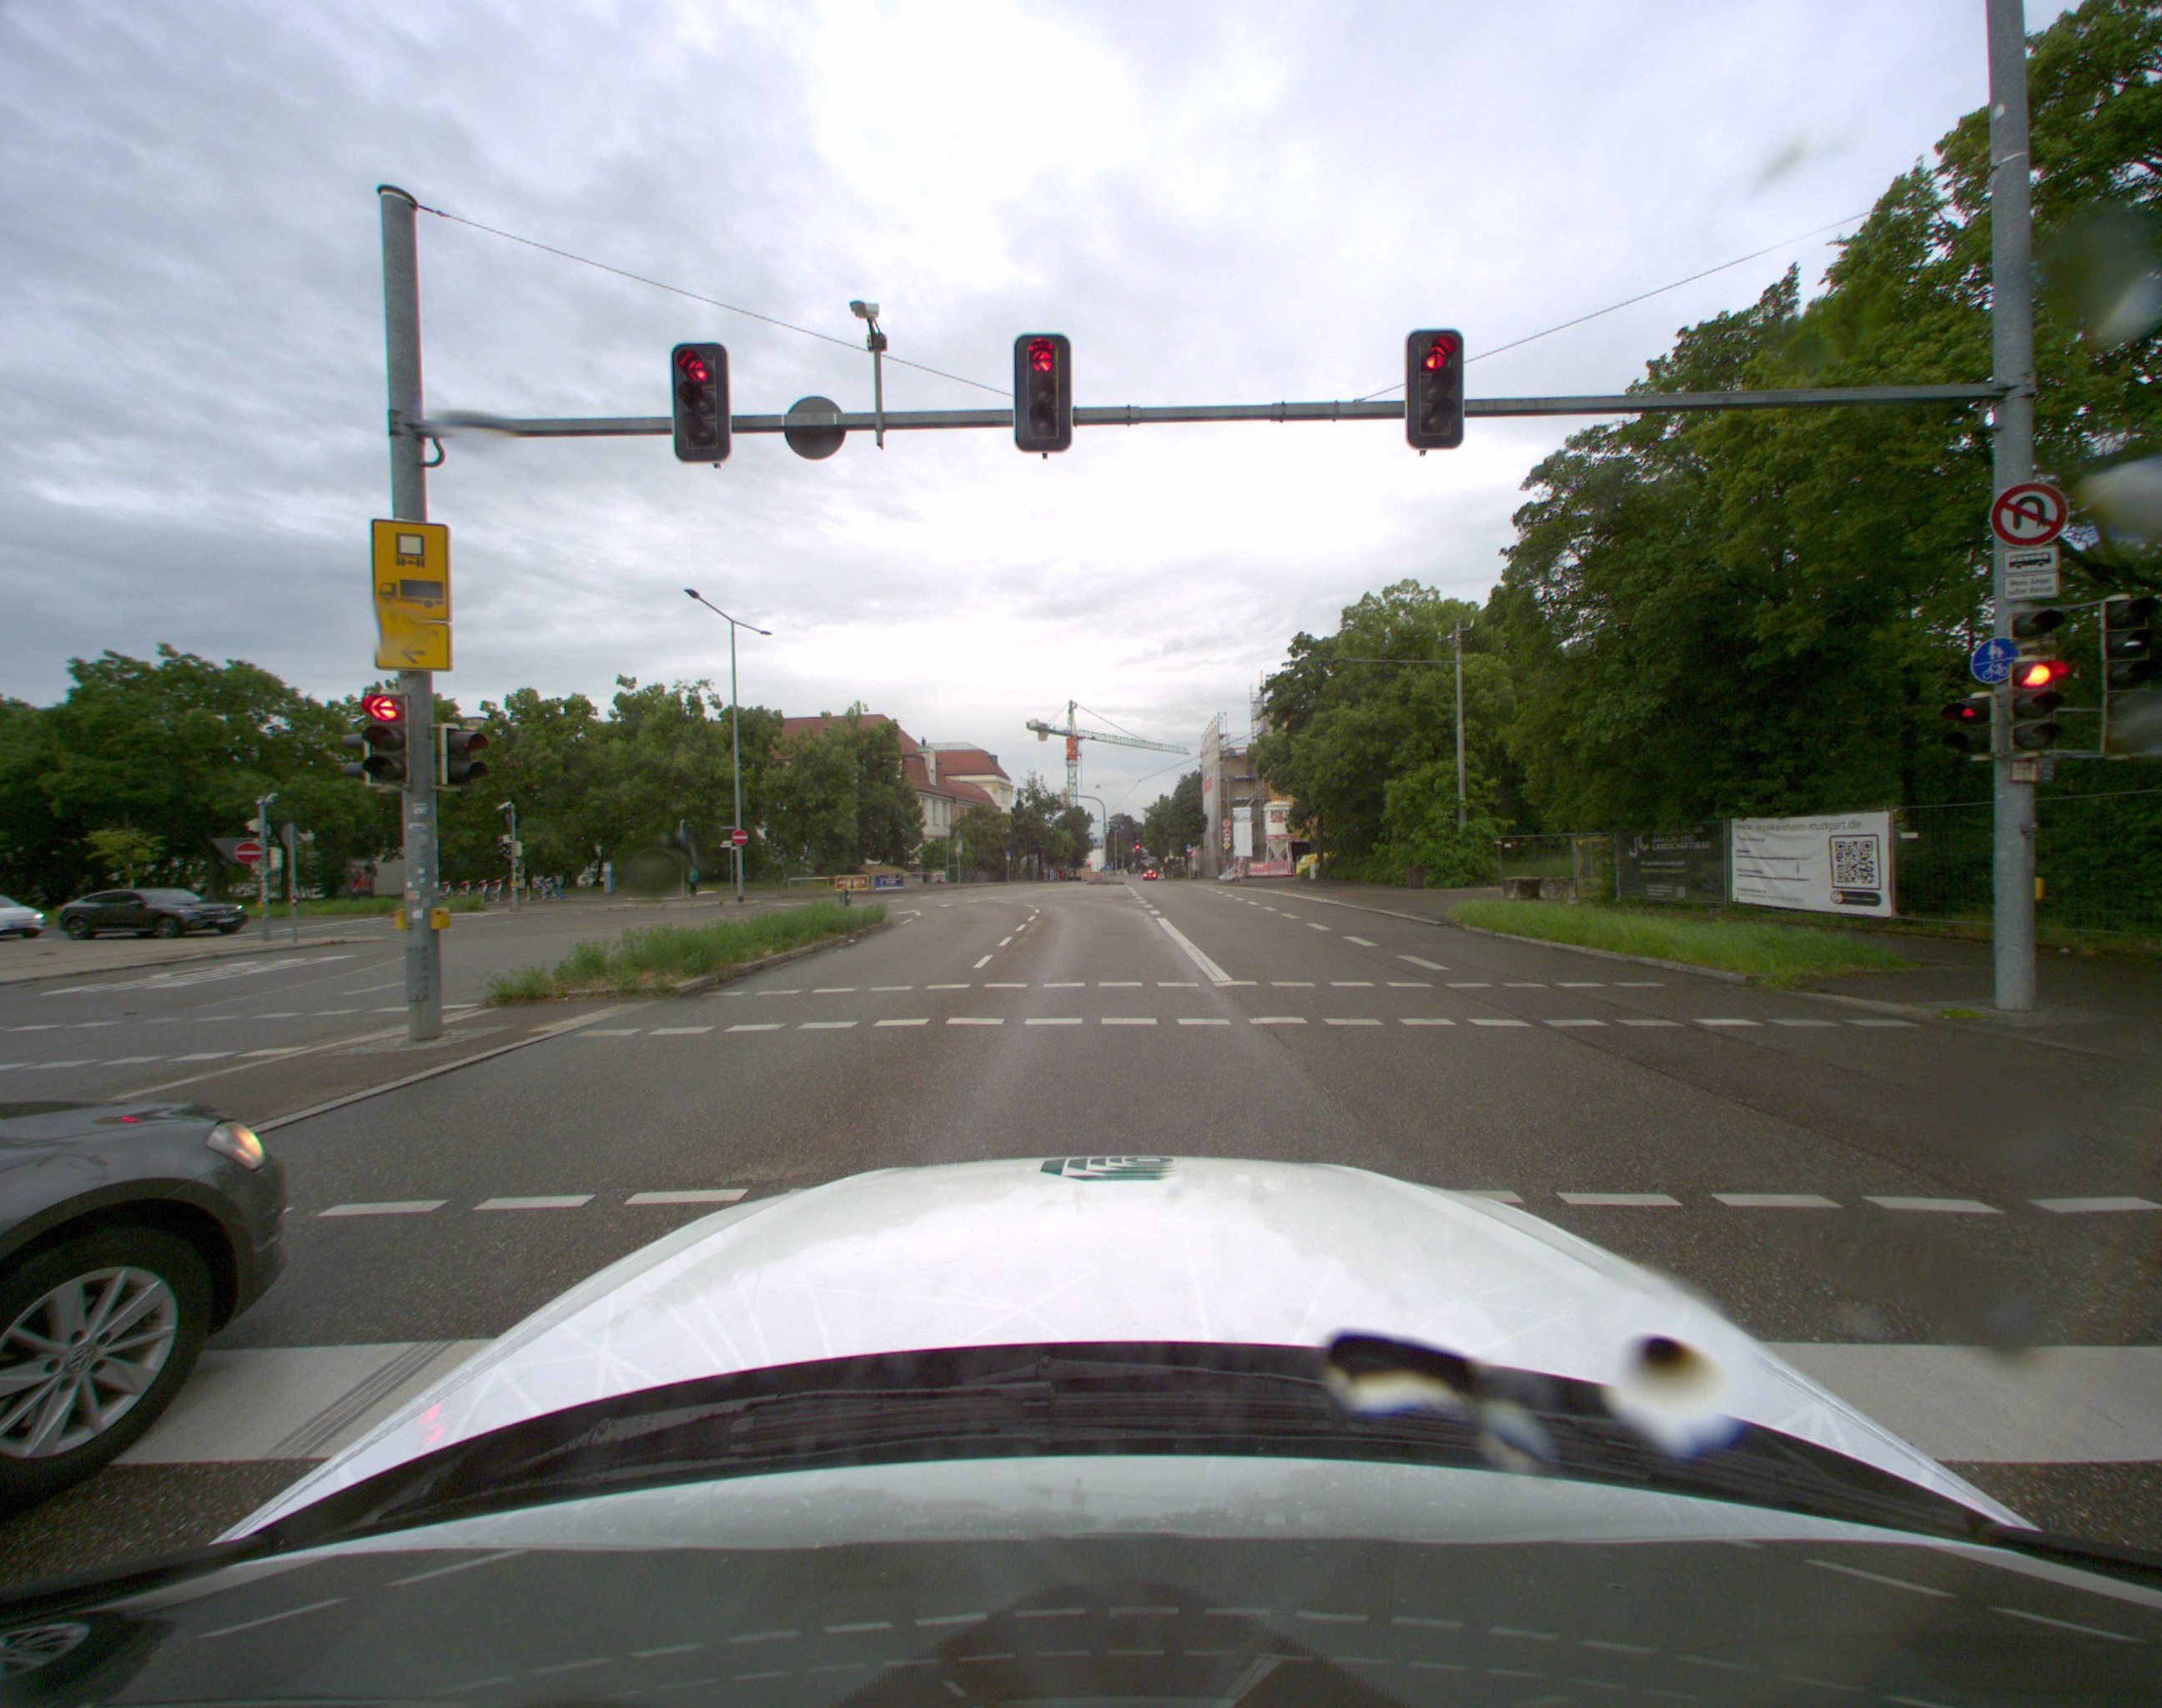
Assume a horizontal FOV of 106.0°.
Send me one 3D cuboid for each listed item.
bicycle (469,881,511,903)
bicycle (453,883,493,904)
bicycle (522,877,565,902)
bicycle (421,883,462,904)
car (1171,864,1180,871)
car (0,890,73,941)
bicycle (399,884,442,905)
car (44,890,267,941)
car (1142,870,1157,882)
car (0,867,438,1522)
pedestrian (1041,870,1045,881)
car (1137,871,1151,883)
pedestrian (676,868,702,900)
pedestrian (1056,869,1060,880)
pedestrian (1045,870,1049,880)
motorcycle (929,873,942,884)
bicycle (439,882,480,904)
[{"bbox_3d":[-32.275,2.067,44.510,0.798,1.071,1.982,0,-1,2],"label":"bicycle"},{"bbox_3d":[-33.024,2.119,44.279,0.649,1.071,1.982,0,-1,2],"label":"bicycle"},{"bbox_3d":[-29.442,1.933,44.619,0.987,1.249,1.982,0,-1,2],"label":"bicycle"},{"bbox_3d":[-34.993,2.142,44.584,0.649,1.071,1.982,0,-1,2],"label":"bicycle"},{"bbox_3d":[25.444,3.511,218.956,1.980,1.750,4.014,-2,0,13],"label":"car"},{"bbox_3d":[-36.502,2.037,27.054,3.539,1.594,2.001,0,-1,1],"label":"car"},{"bbox_3d":[-35.970,2.178,44.369,0.649,1.071,1.982,0,-1,2],"label":"bicycle"},{"bbox_3d":[-30.081,1.985,26.589,5.006,1.500,2.001,0,-1,1],"label":"car"},{"bbox_3d":[10.554,3.382,124.981,1.986,1.750,4.001,-2,0,1],"label":"car"},{"bbox_3d":[-3.424,0.808,0.906,1.809,1.481,4.378,-2,0,2],"label":"car"},{"bbox_3d":[-5.422,3.039,115.136,0.473,1.396,0.411,-2,-1,1],"label":"pedestrian"},{"bbox_3d":[10.215,3.667,131.753,1.986,1.750,4.001,-2,0,1],"label":"car"},{"bbox_3d":[-21.621,1.632,44.900,0.918,1.727,0.947,0,-1,5],"label":"pedestrian"},{"bbox_3d":[-3.446,2.992,121.267,0.492,1.645,0.533,0,-1,-4],"label":"pedestrian"},{"bbox_3d":[-4.808,3.014,115.095,0.473,1.396,0.411,-2,-1,1],"label":"pedestrian"},{"bbox_3d":[-11.659,1.947,65.270,0.846,0.877,0.877,0,-1,1],"label":"motorcycle"},{"bbox_3d":[-33.914,2.115,44.453,0.649,1.071,1.982,0,-1,2],"label":"bicycle"}]
